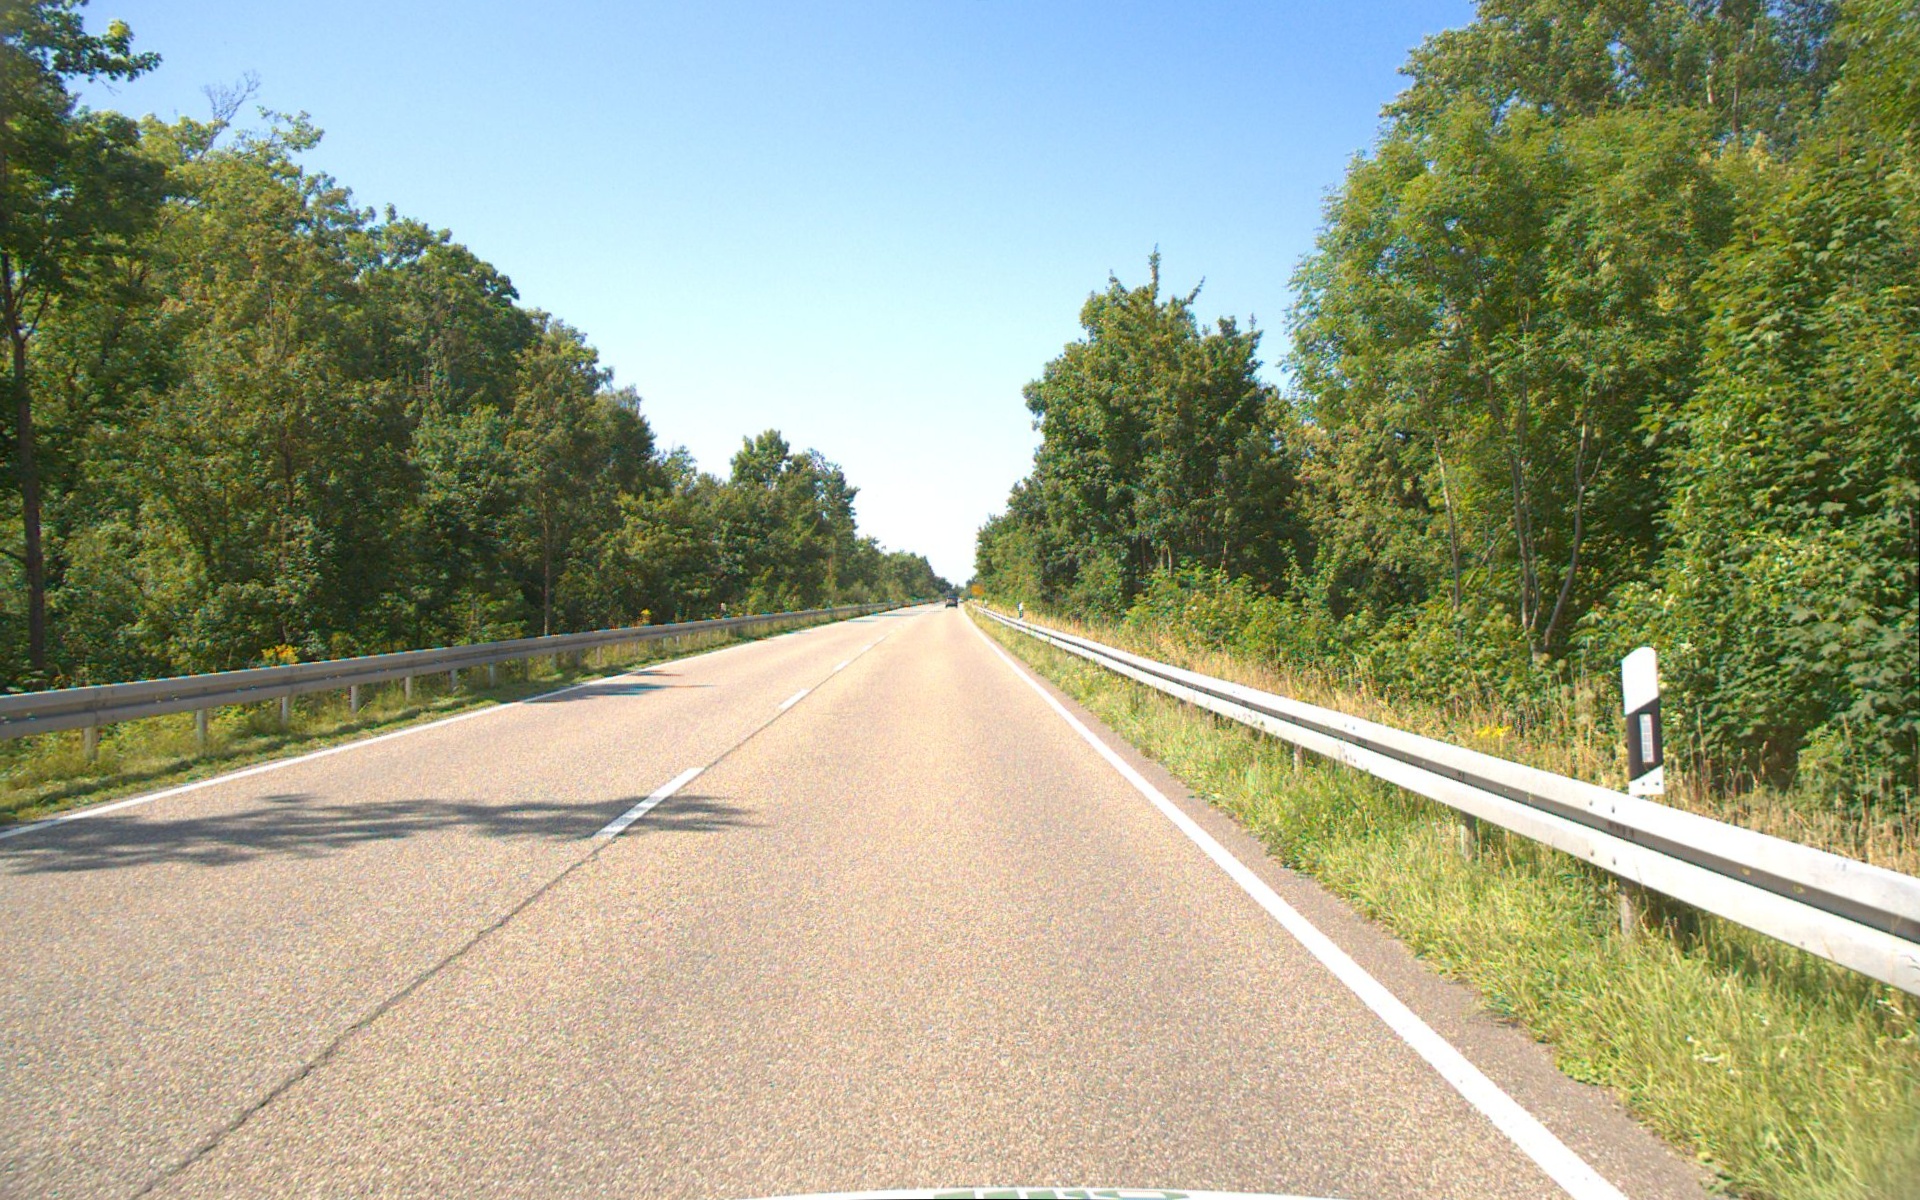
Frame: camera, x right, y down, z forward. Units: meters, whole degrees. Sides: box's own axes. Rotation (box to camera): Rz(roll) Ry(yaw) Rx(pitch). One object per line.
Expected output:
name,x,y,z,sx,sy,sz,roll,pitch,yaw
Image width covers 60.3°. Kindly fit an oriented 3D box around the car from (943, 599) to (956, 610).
car,-1.532,0.627,235.010,1.705,1.496,3.693,1,0,1
